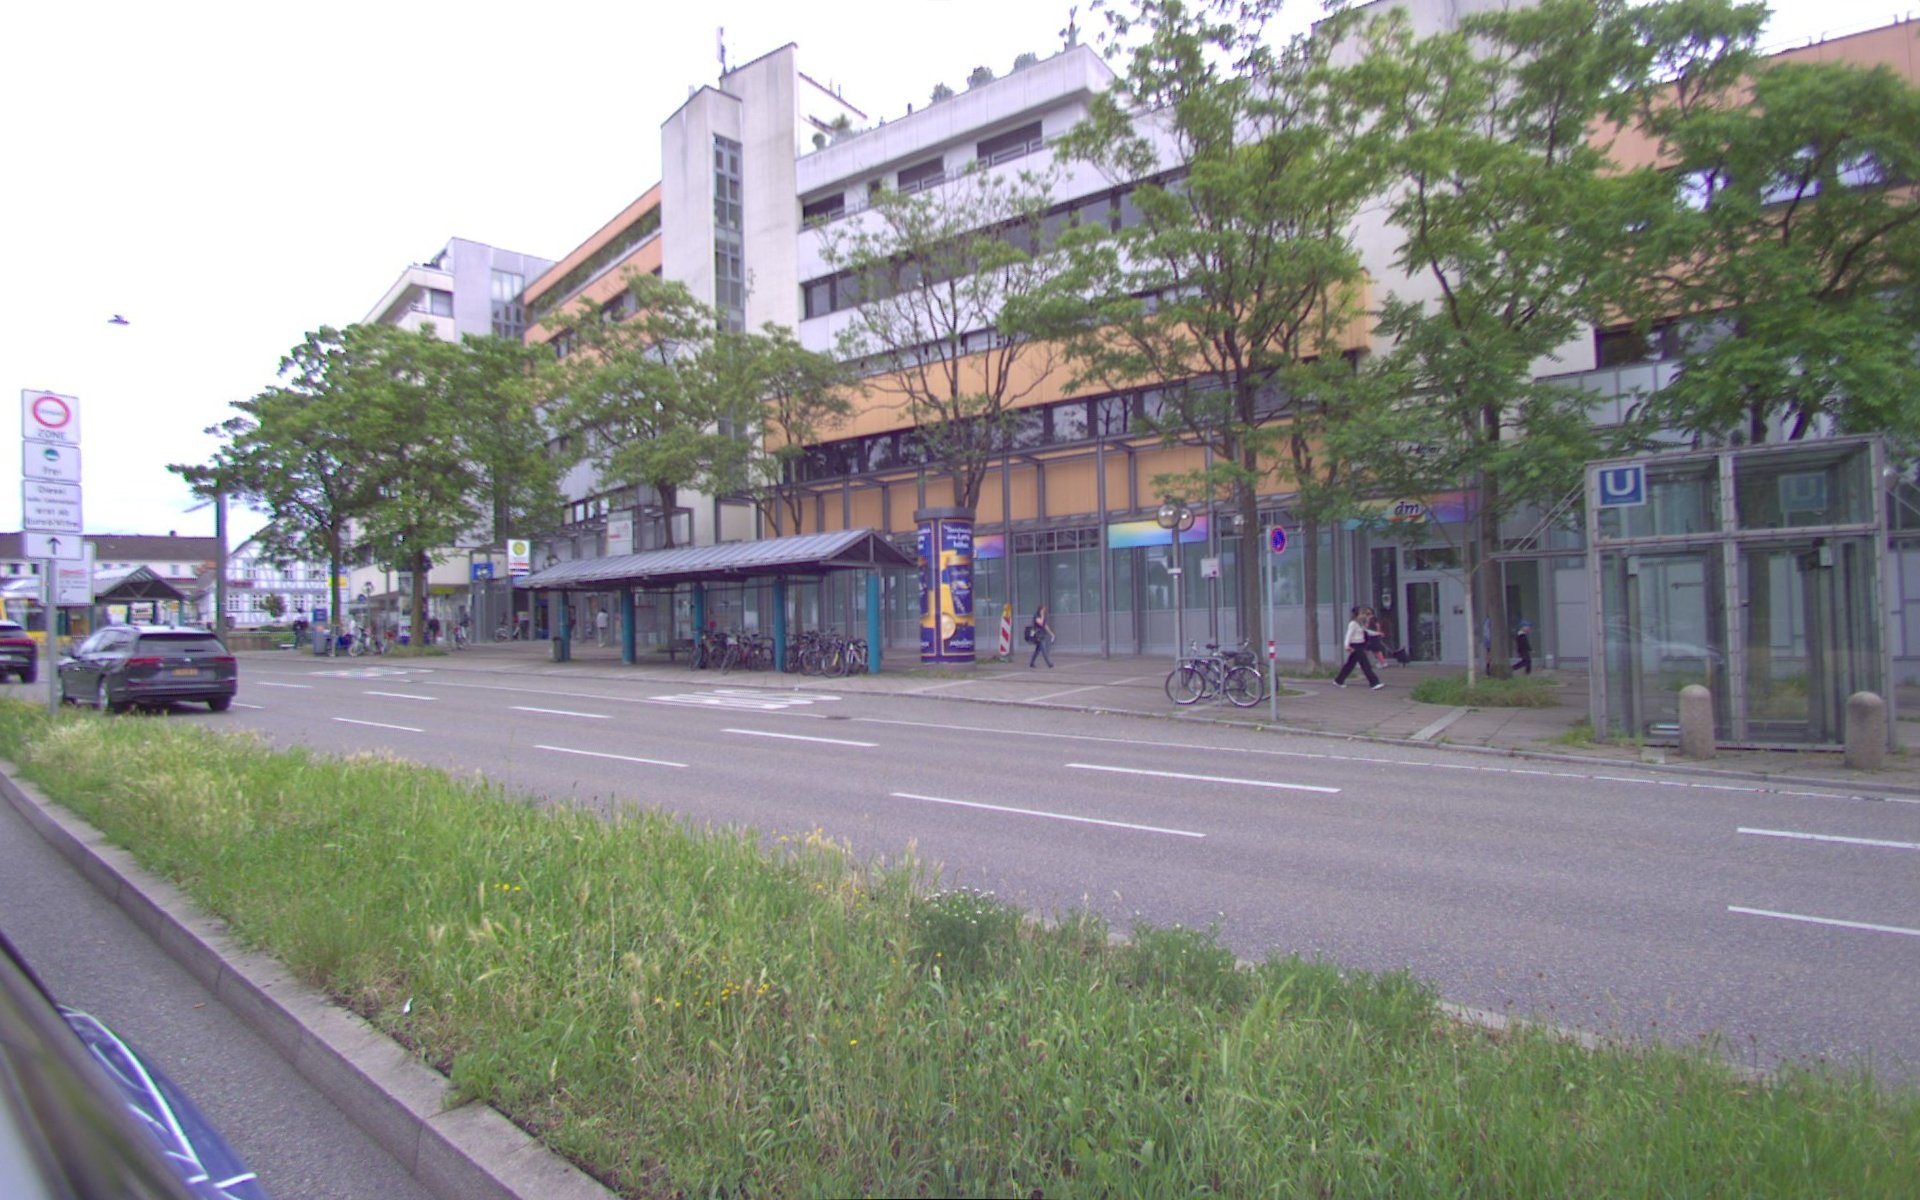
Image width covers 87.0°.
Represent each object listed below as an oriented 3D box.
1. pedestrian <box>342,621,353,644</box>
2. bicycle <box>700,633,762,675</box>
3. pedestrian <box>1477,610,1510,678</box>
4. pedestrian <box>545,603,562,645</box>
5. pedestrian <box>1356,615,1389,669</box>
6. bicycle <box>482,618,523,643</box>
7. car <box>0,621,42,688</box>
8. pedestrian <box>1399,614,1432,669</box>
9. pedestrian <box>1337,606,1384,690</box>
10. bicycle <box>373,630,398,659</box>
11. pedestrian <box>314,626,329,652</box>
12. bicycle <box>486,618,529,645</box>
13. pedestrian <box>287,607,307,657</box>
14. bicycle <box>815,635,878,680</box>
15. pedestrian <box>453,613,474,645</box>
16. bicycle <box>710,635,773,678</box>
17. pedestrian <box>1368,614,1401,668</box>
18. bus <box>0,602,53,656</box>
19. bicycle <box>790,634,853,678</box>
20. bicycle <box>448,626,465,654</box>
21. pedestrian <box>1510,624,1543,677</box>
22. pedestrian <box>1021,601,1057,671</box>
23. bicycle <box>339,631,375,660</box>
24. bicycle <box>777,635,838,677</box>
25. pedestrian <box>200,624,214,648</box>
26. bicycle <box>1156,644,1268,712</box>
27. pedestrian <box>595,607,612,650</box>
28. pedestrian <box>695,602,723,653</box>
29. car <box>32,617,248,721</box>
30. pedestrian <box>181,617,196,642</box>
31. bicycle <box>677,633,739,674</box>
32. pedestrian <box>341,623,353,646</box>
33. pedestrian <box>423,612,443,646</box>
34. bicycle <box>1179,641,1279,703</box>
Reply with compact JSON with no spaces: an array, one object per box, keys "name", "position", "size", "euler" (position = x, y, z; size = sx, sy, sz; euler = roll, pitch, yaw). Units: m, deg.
[{"name":"pedestrian","position":[-30.948,1.646,51.169],"size":[0.368,1.188,0.338],"euler":[-1,-2,31]},{"name":"bicycle","position":[-6.460,1.507,28.583],"size":[0.549,1.048,1.714],"euler":[-2,1,38]},{"name":"pedestrian","position":[12.027,0.987,22.805],"size":[0.620,1.515,0.563],"euler":[-1,-2,31]},{"name":"pedestrian","position":[-19.731,1.145,49.082],"size":[0.558,2.029,0.611],"euler":[1,-2,-44]},{"name":"pedestrian","position":[10.681,1.076,26.213],"size":[0.694,1.385,0.578],"euler":[-1,-2,34]},{"name":"bicycle","position":[-26.103,1.727,57.765],"size":[2.106,1.377,0.621],"euler":[-1,0,-24]},{"name":"car","position":[-24.529,1.307,25.216],"size":[4.068,1.533,1.817],"euler":[0,-2,39]},{"name":"pedestrian","position":[11.770,1.061,26.142],"size":[0.694,1.385,0.578],"euler":[-1,-2,34]},{"name":"pedestrian","position":[8.185,0.971,20.690],"size":[0.721,1.662,0.669],"euler":[-1,-1,37]},{"name":"bicycle","position":[-22.752,1.747,40.108],"size":[0.584,1.085,2.044],"euler":[0,-1,-21]},{"name":"pedestrian","position":[-38.805,2.367,61.493],"size":[0.581,1.554,0.570],"euler":[-1,-2,32]},{"name":"bicycle","position":[-24.954,1.717,55.787],"size":[2.107,1.385,0.621],"euler":[-1,0,-31]},{"name":"pedestrian","position":[-31.003,1.481,47.331],"size":[0.608,2.325,0.583],"euler":[-1,-2,39]},{"name":"bicycle","position":[-2.909,1.469,26.060],"size":[0.549,1.048,1.714],"euler":[-2,0,38]},{"name":"pedestrian","position":[-26.245,1.527,53.465],"size":[0.752,1.695,0.755],"euler":[-1,-2,41]},{"name":"bicycle","position":[-5.965,1.524,27.721],"size":[0.549,1.048,1.714],"euler":[-2,1,38]},{"name":"pedestrian","position":[11.198,1.069,26.699],"size":[0.694,1.385,0.578],"euler":[-1,-2,34]},{"name":"bus","position":[-55.988,1.676,58.613],"size":[8.470,3.006,2.530],"euler":[-1,-2,29]},{"name":"bicycle","position":[-3.619,1.453,26.592],"size":[0.549,1.048,1.714],"euler":[-2,0,38]},{"name":"bicycle","position":[-21.357,1.701,42.928],"size":[0.584,1.134,2.044],"euler":[1,-1,-26]},{"name":"pedestrian","position":[12.929,1.136,23.098],"size":[0.620,1.190,0.418],"euler":[-1,-2,31]},{"name":"pedestrian","position":[2.079,0.948,26.636],"size":[0.769,1.800,0.525],"euler":[-1,-2,33]},{"name":"bicycle","position":[-23.619,1.760,39.650],"size":[0.585,1.085,2.042],"euler":[0,-1,-12]},{"name":"bicycle","position":[-4.143,1.509,27.560],"size":[0.549,1.048,1.714],"euler":[-2,-1,38]},{"name":"pedestrian","position":[-50.039,2.384,67.269],"size":[0.581,1.554,0.570],"euler":[-1,-2,32]},{"name":"bicycle","position":[4.363,1.320,17.598],"size":[0.802,1.068,1.739],"euler":[0,-1,-40]},{"name":"pedestrian","position":[-15.479,1.235,43.905],"size":[0.639,1.823,0.761],"euler":[0,-2,-16]},{"name":"pedestrian","position":[-10.025,1.081,40.424],"size":[0.792,2.029,0.702],"euler":[-1,0,33]},{"name":"car","position":[-14.209,1.132,17.471],"size":[4.278,1.492,1.695],"euler":[1,-3,35]},{"name":"pedestrian","position":[-62.459,2.370,81.909],"size":[0.867,2.029,1.010],"euler":[1,-2,-44]},{"name":"bicycle","position":[-7.238,1.530,29.148],"size":[0.549,1.048,1.714],"euler":[-2,0,38]},{"name":"pedestrian","position":[-39.721,2.216,65.562],"size":[0.548,1.506,0.454],"euler":[1,-2,-41]},{"name":"pedestrian","position":[-29.593,1.626,56.812],"size":[0.752,1.859,0.755],"euler":[-1,-2,41]},{"name":"bicycle","position":[4.979,1.308,18.789],"size":[1.737,1.074,0.542],"euler":[-2,-1,45]}]
